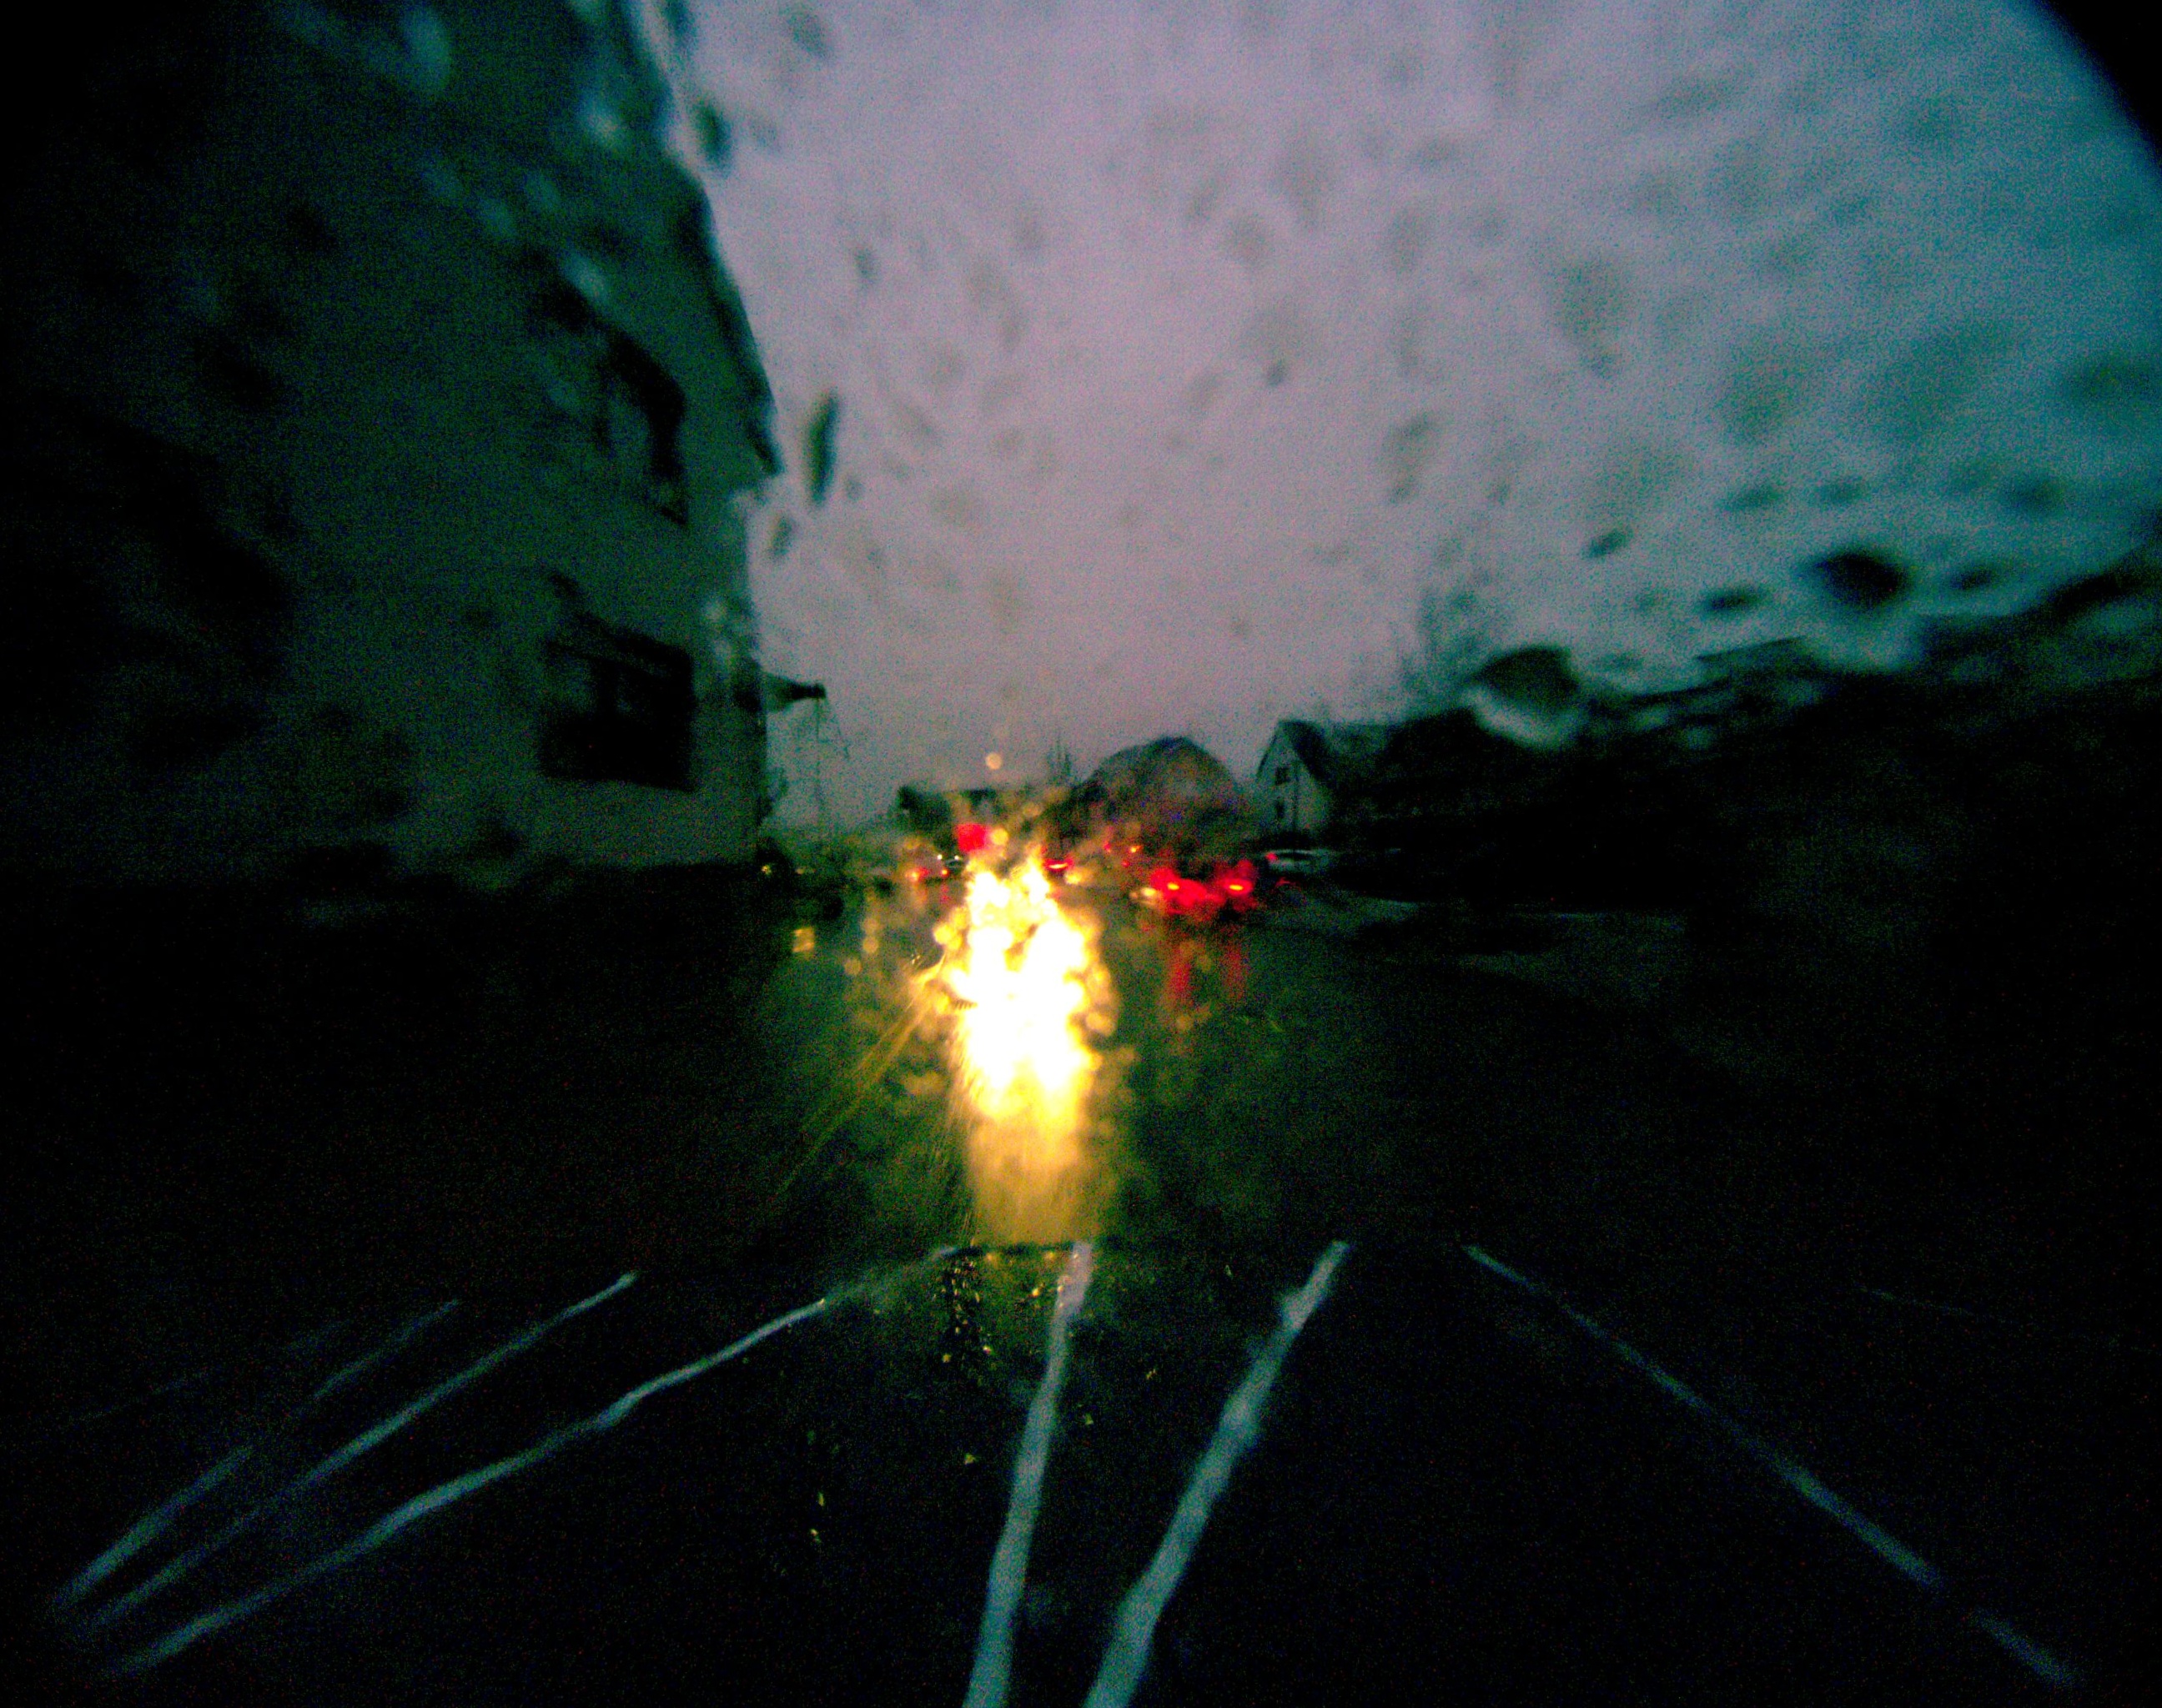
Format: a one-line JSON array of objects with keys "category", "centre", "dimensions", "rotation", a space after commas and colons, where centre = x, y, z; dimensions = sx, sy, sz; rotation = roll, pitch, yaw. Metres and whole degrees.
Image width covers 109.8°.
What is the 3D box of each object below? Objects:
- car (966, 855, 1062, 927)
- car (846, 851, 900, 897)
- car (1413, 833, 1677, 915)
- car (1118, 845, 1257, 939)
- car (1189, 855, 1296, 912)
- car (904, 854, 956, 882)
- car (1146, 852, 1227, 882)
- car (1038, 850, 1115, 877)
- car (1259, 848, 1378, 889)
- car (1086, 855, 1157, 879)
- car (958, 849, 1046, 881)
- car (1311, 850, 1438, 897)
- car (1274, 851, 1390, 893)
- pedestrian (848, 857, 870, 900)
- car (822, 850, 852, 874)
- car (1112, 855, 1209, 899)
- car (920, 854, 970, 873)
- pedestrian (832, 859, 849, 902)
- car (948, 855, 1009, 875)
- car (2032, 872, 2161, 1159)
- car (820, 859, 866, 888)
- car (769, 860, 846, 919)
[{"category": "car", "centre": [-1.712, 0.882, 20.687], "dimensions": [2.270, 1.633, 5.064], "rotation": [-1, 0, -3]}, {"category": "car", "centre": [-9.619, 0.865, 34.878], "dimensions": [1.981, 1.948, 4.844], "rotation": [-1, 0, -20]}, {"category": "car", "centre": [11.407, 0.466, 19.206], "dimensions": [5.385, 1.874, 2.077], "rotation": [0, 0, 19]}, {"category": "car", "centre": [2.290, 0.767, 17.794], "dimensions": [2.147, 1.850, 4.740], "rotation": [-1, 0, -5]}, {"category": "car", "centre": [4.804, 0.810, 23.081], "dimensions": [1.840, 1.527, 3.672], "rotation": [-2, 0, -11]}, {"category": "car", "centre": [-10.119, 0.891, 50.709], "dimensions": [1.955, 1.740, 4.839], "rotation": [1, 0, -29]}, {"category": "car", "centre": [5.482, 0.677, 39.667], "dimensions": [4.068, 1.451, 1.758], "rotation": [-1, 1, 7]}, {"category": "car", "centre": [-0.292, 0.611, 49.407], "dimensions": [4.455, 1.623, 2.150], "rotation": [-1, 1, -26]}, {"category": "car", "centre": [9.956, 0.603, 32.234], "dimensions": [4.648, 1.644, 1.989], "rotation": [0, 1, 12]}, {"category": "car", "centre": [2.951, 0.966, 55.148], "dimensions": [4.773, 1.625, 1.997], "rotation": [1, -2, -17]}, {"category": "car", "centre": [-5.451, 0.752, 52.496], "dimensions": [5.781, 1.934, 1.989], "rotation": [-2, 0, -13]}, {"category": "car", "centre": [10.130, 0.672, 26.558], "dimensions": [3.992, 1.521, 2.002], "rotation": [-1, 0, 16]}, {"category": "car", "centre": [9.616, 0.657, 29.402], "dimensions": [4.106, 1.573, 1.722], "rotation": [0, 1, 12]}, {"category": "pedestrian", "centre": [-8.815, 0.956, 30.127], "dimensions": [0.716, 1.689, 0.802], "rotation": [0, 0, -24]}, {"category": "car", "centre": [-26.471, 0.844, 82.427], "dimensions": [2.205, 2.476, 6.130], "rotation": [-1, 0, -26]}, {"category": "car", "centre": [3.026, 0.856, 29.709], "dimensions": [1.913, 1.524, 4.248], "rotation": [-2, 0, -23]}, {"category": "car", "centre": [-13.369, 0.934, 74.849], "dimensions": [4.434, 1.790, 1.841], "rotation": [-1, 0, -27]}, {"category": "pedestrian", "centre": [-9.409, 1.009, 29.745], "dimensions": [0.582, 1.659, 0.790], "rotation": [0, 0, -22]}, {"category": "car", "centre": [-8.941, 0.961, 66.116], "dimensions": [4.888, 1.673, 1.996], "rotation": [-1, -1, -25]}, {"category": "car", "centre": [6.455, 0.842, 2.256], "dimensions": [1.751, 1.463, 4.459], "rotation": [-2, 0, 2]}, {"category": "car", "centre": [-14.408, 1.147, 45.820], "dimensions": [1.983, 1.651, 4.451], "rotation": [-1, 0, -26]}, {"category": "car", "centre": [-8.003, 0.967, 22.048], "dimensions": [1.742, 1.552, 3.656], "rotation": [0, 0, -25]}]
